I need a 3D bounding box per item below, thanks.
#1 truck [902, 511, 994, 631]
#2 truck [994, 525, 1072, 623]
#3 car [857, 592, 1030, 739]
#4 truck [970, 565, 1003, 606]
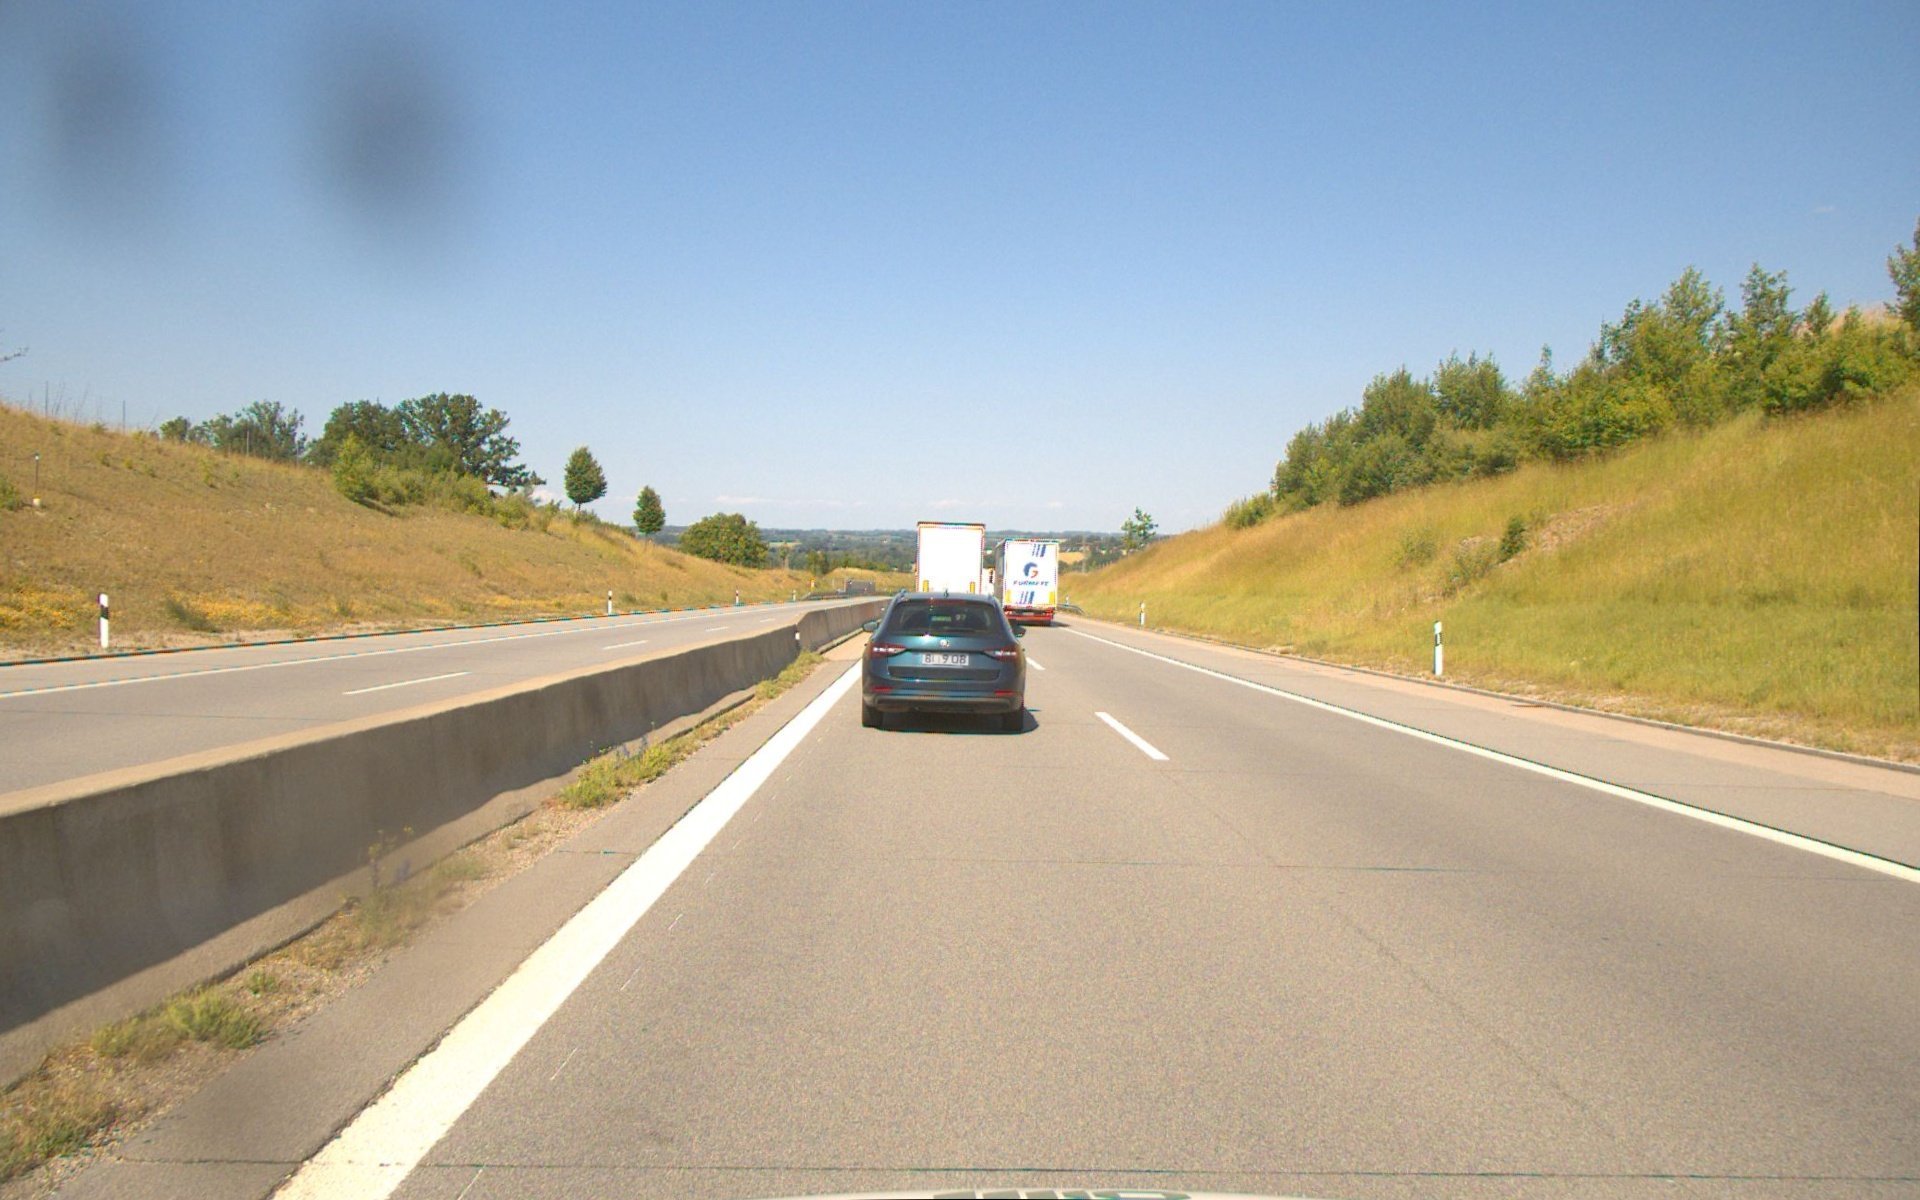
[{"bbox_3d":[-0.329,-1.133,67.402,3.144,4.458,11.237,-1,0,2],"label":"truck"},{"bbox_3d":[3.586,-1.248,81.975,3.529,4.458,11.237,-1,0,2],"label":"truck"},{"bbox_3d":[-0.216,0.651,18.582,1.741,1.466,3.788,0,0,-2],"label":"car"},{"bbox_3d":[3.084,-1.661,189.335,3.529,4.458,11.237,-1,0,2],"label":"truck"}]
